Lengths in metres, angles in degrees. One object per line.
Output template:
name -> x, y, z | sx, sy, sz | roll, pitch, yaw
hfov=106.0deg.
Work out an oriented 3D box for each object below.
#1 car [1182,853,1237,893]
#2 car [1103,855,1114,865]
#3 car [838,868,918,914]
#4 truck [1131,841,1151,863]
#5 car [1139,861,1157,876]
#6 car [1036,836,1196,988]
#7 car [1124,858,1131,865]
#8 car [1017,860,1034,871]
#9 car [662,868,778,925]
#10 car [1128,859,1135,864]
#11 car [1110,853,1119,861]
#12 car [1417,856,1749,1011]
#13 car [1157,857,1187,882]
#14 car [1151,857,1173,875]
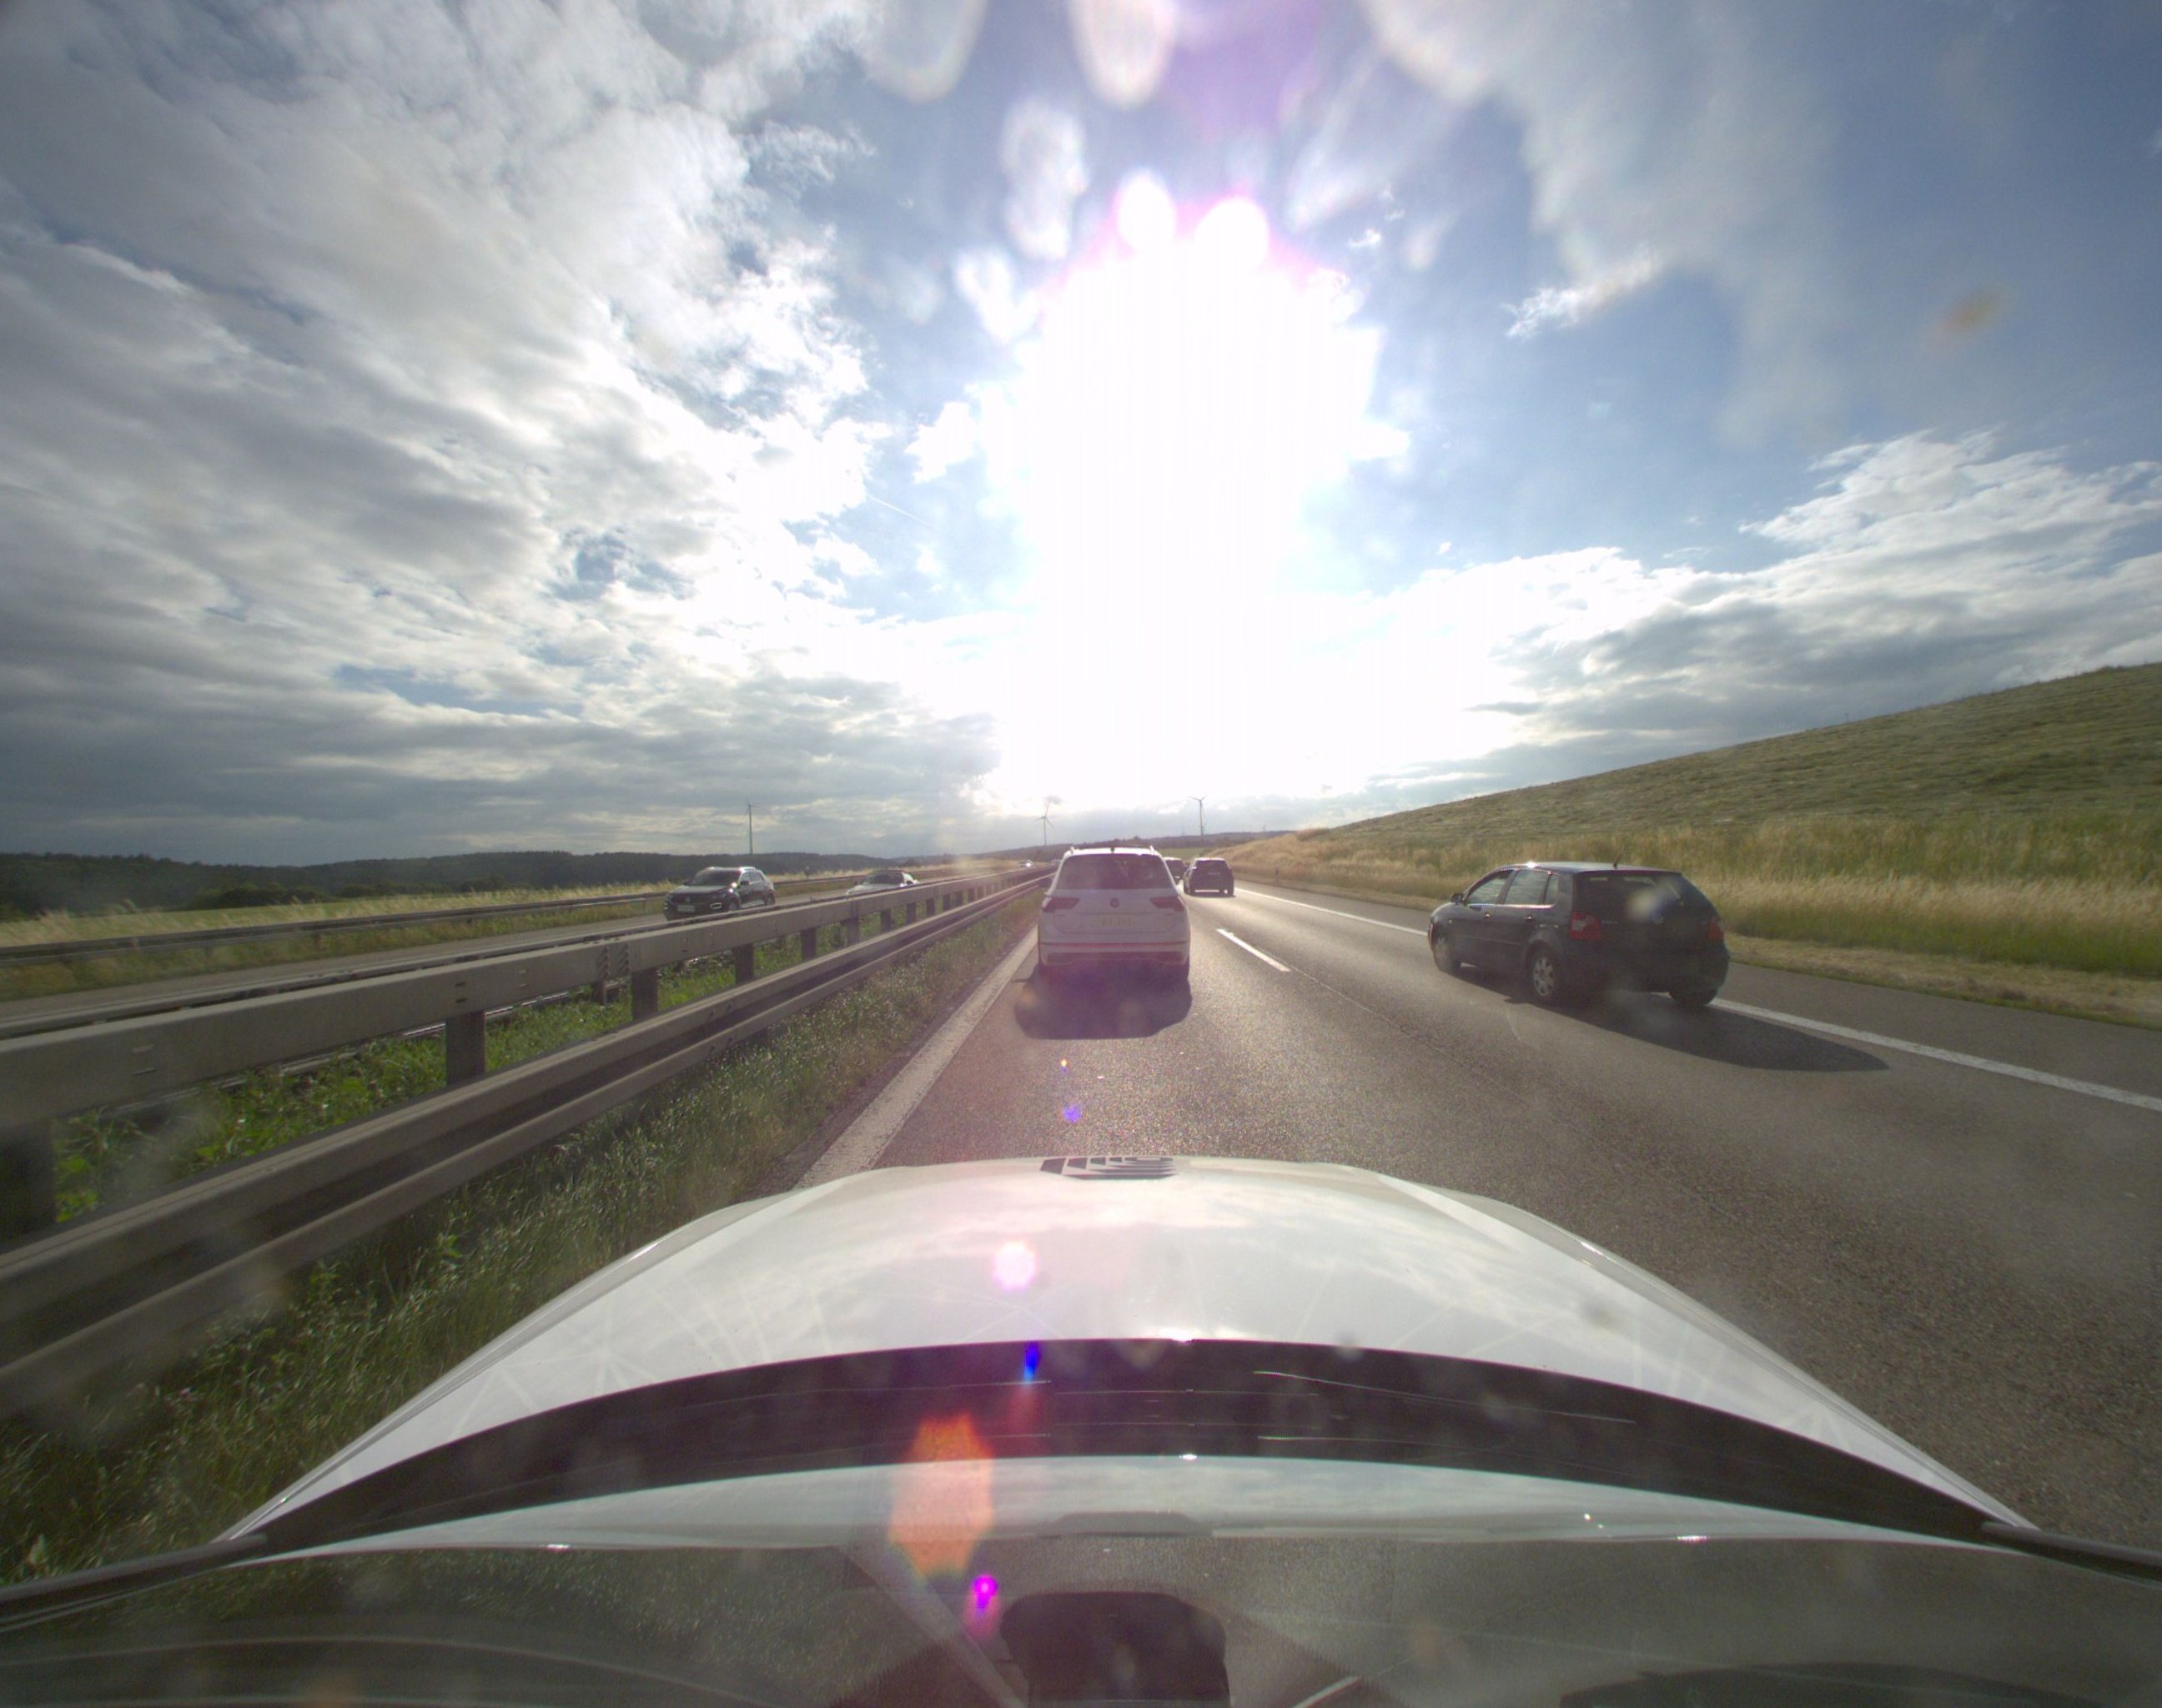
car -> 5.193, 0.753, 33.373 | 1.698, 1.546, 4.001 | 0, -1, 1
car -> 4.332, 0.971, 129.187 | 1.698, 1.650, 4.001 | 0, -1, 1
car -> -6.623, 1.173, 27.009 | 1.610, 1.392, 4.000 | 0, -1, 0
truck -> 10.030, -0.310, 136.576 | 3.170, 3.594, 11.140 | -1, 0, 3
car -> 7.032, 1.494, 85.814 | 1.698, 1.546, 4.001 | 0, -1, 1
car -> 0.443, 0.665, 11.059 | 1.763, 1.676, 4.001 | 0, -1, 1
car -> 11.505, 1.853, 201.191 | 1.698, 1.546, 4.001 | 0, -1, 1
car -> -7.223, 1.494, 106.351 | 1.744, 1.479, 4.480 | 0, -1, 0
car -> -10.509, 1.178, 24.032 | 1.610, 1.521, 4.000 | 0, -1, 0
car -> 14.188, 2.133, 229.503 | 1.698, 1.546, 4.001 | 0, -1, 1
car -> 6.601, 0.619, 159.186 | 1.698, 1.546, 4.001 | 0, -1, 1
car -> 5.404, 0.759, 9.379 | 1.600, 1.420, 3.672 | 0, -1, 1
car -> 6.250, 1.063, 56.159 | 1.698, 1.650, 4.001 | 0, -1, 1
car -> 7.405, 1.110, 74.514 | 1.698, 1.546, 4.001 | 0, -1, 1
